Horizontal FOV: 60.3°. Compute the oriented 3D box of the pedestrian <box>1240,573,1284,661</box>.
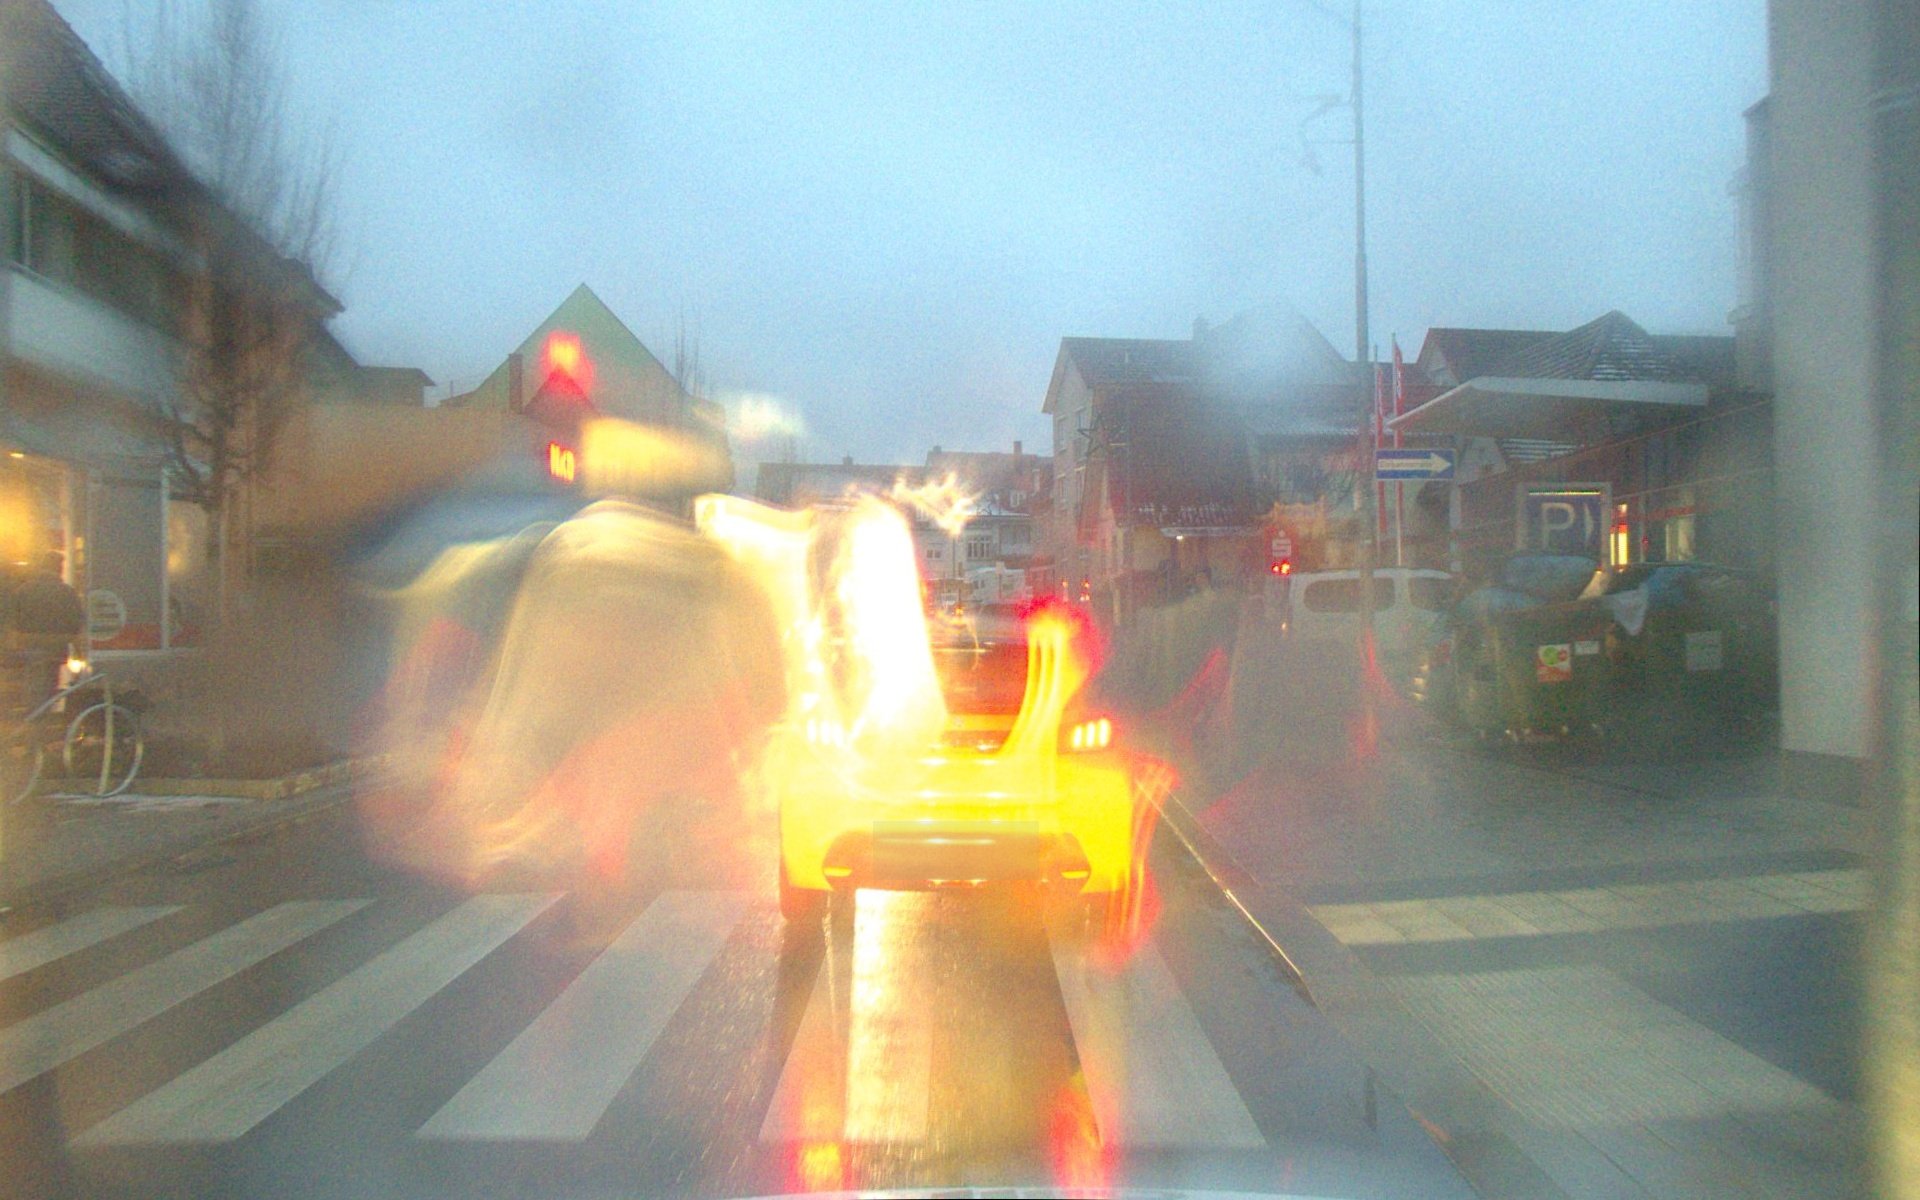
[{"bbox_3d":[6.066,0.337,33.279,0.689,1.735,0.914,0,-1,-2],"label":"pedestrian"}]

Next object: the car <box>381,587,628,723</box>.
[{"bbox_3d":[-5.889,0.651,22.022,1.952,1.585,4.621,1,0,0],"label":"car"}]

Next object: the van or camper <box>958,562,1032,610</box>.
[{"bbox_3d":[2.394,-0.938,115.466,2.615,3.100,6.688,-4,1,-22],"label":"van or camper"}]

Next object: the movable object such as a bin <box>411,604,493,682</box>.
[{"bbox_3d":[-9.599,0.806,31.310,1.316,1.377,0.887,-3,0,-10],"label":"movable object such as a bin"}]

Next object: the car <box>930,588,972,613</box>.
[{"bbox_3d":[-0.648,0.048,114.660,1.960,1.639,4.158,-2,-1,-14],"label":"car"}]

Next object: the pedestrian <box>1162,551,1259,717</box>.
[{"bbox_3d":[2.989,0.400,19.804,0.947,1.922,1.005,1,0,-3],"label":"pedestrian"}]

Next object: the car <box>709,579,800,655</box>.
[{"bbox_3d":[-5.220,0.386,42.600,2.045,1.823,5.019,0,0,-4],"label":"car"}]

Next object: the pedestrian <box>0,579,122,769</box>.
[{"bbox_3d":[-8.418,0.663,15.322,0.810,1.687,1.096,1,0,-7],"label":"pedestrian"}]

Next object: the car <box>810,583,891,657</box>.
[{"bbox_3d":[-2.881,0.472,44.399,1.953,1.735,4.965,2,1,-2],"label":"car"}]

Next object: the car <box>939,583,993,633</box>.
[{"bbox_3d":[0.209,0.327,65.800,1.953,1.890,3.998,1,0,-2],"label":"car"}]

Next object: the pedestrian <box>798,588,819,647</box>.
[{"bbox_3d":[-4.244,0.488,46.262,0.563,1.613,0.529,0,1,-4],"label":"pedestrian"}]

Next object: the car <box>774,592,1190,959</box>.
[{"bbox_3d":[0.086,0.766,9.154,1.777,1.560,3.999,1,0,0],"label":"car"}]

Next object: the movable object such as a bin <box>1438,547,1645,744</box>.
[{"bbox_3d":[5.283,0.396,15.137,1.365,1.672,1.261,-2,0,-3],"label":"movable object such as a bin"}]

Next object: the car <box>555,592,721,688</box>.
[{"bbox_3d":[-5.597,0.658,29.413,1.953,1.549,4.977,0,0,0],"label":"car"}]

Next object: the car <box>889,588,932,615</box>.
[{"bbox_3d":[-3.449,0.083,114.276,1.962,1.796,4.331,-2,1,-16],"label":"car"}]

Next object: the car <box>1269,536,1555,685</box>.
[{"bbox_3d":[6.924,0.165,25.718,4.004,2.085,2.002,-2,0,8],"label":"car"}]

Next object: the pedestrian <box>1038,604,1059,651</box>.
[{"bbox_3d":[3.370,1.054,63.031,0.730,1.759,0.872,0,1,-3],"label":"pedestrian"}]

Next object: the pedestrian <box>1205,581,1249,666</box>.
[{"bbox_3d":[5.583,0.479,34.631,0.824,1.735,0.839,-2,0,6],"label":"pedestrian"}]

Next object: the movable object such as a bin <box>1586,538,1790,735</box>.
[{"bbox_3d":[6.619,0.318,15.118,1.260,1.672,1.184,-3,0,-3],"label":"movable object such as a bin"}]

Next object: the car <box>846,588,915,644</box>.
[{"bbox_3d":[-2.753,0.510,56.527,1.915,1.573,4.409,-2,3,-8],"label":"car"}]

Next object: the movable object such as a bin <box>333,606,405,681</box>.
[{"bbox_3d":[-11.098,0.806,31.096,1.129,1.378,0.849,0,0,-11],"label":"movable object such as a bin"}]

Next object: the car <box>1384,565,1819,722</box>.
[{"bbox_3d":[6.706,0.457,17.655,3.904,1.512,1.913,-1,-1,3],"label":"car"}]

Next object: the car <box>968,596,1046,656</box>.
[{"bbox_3d":[1.314,0.724,47.867,1.953,1.616,3.998,1,0,-3],"label":"car"}]
